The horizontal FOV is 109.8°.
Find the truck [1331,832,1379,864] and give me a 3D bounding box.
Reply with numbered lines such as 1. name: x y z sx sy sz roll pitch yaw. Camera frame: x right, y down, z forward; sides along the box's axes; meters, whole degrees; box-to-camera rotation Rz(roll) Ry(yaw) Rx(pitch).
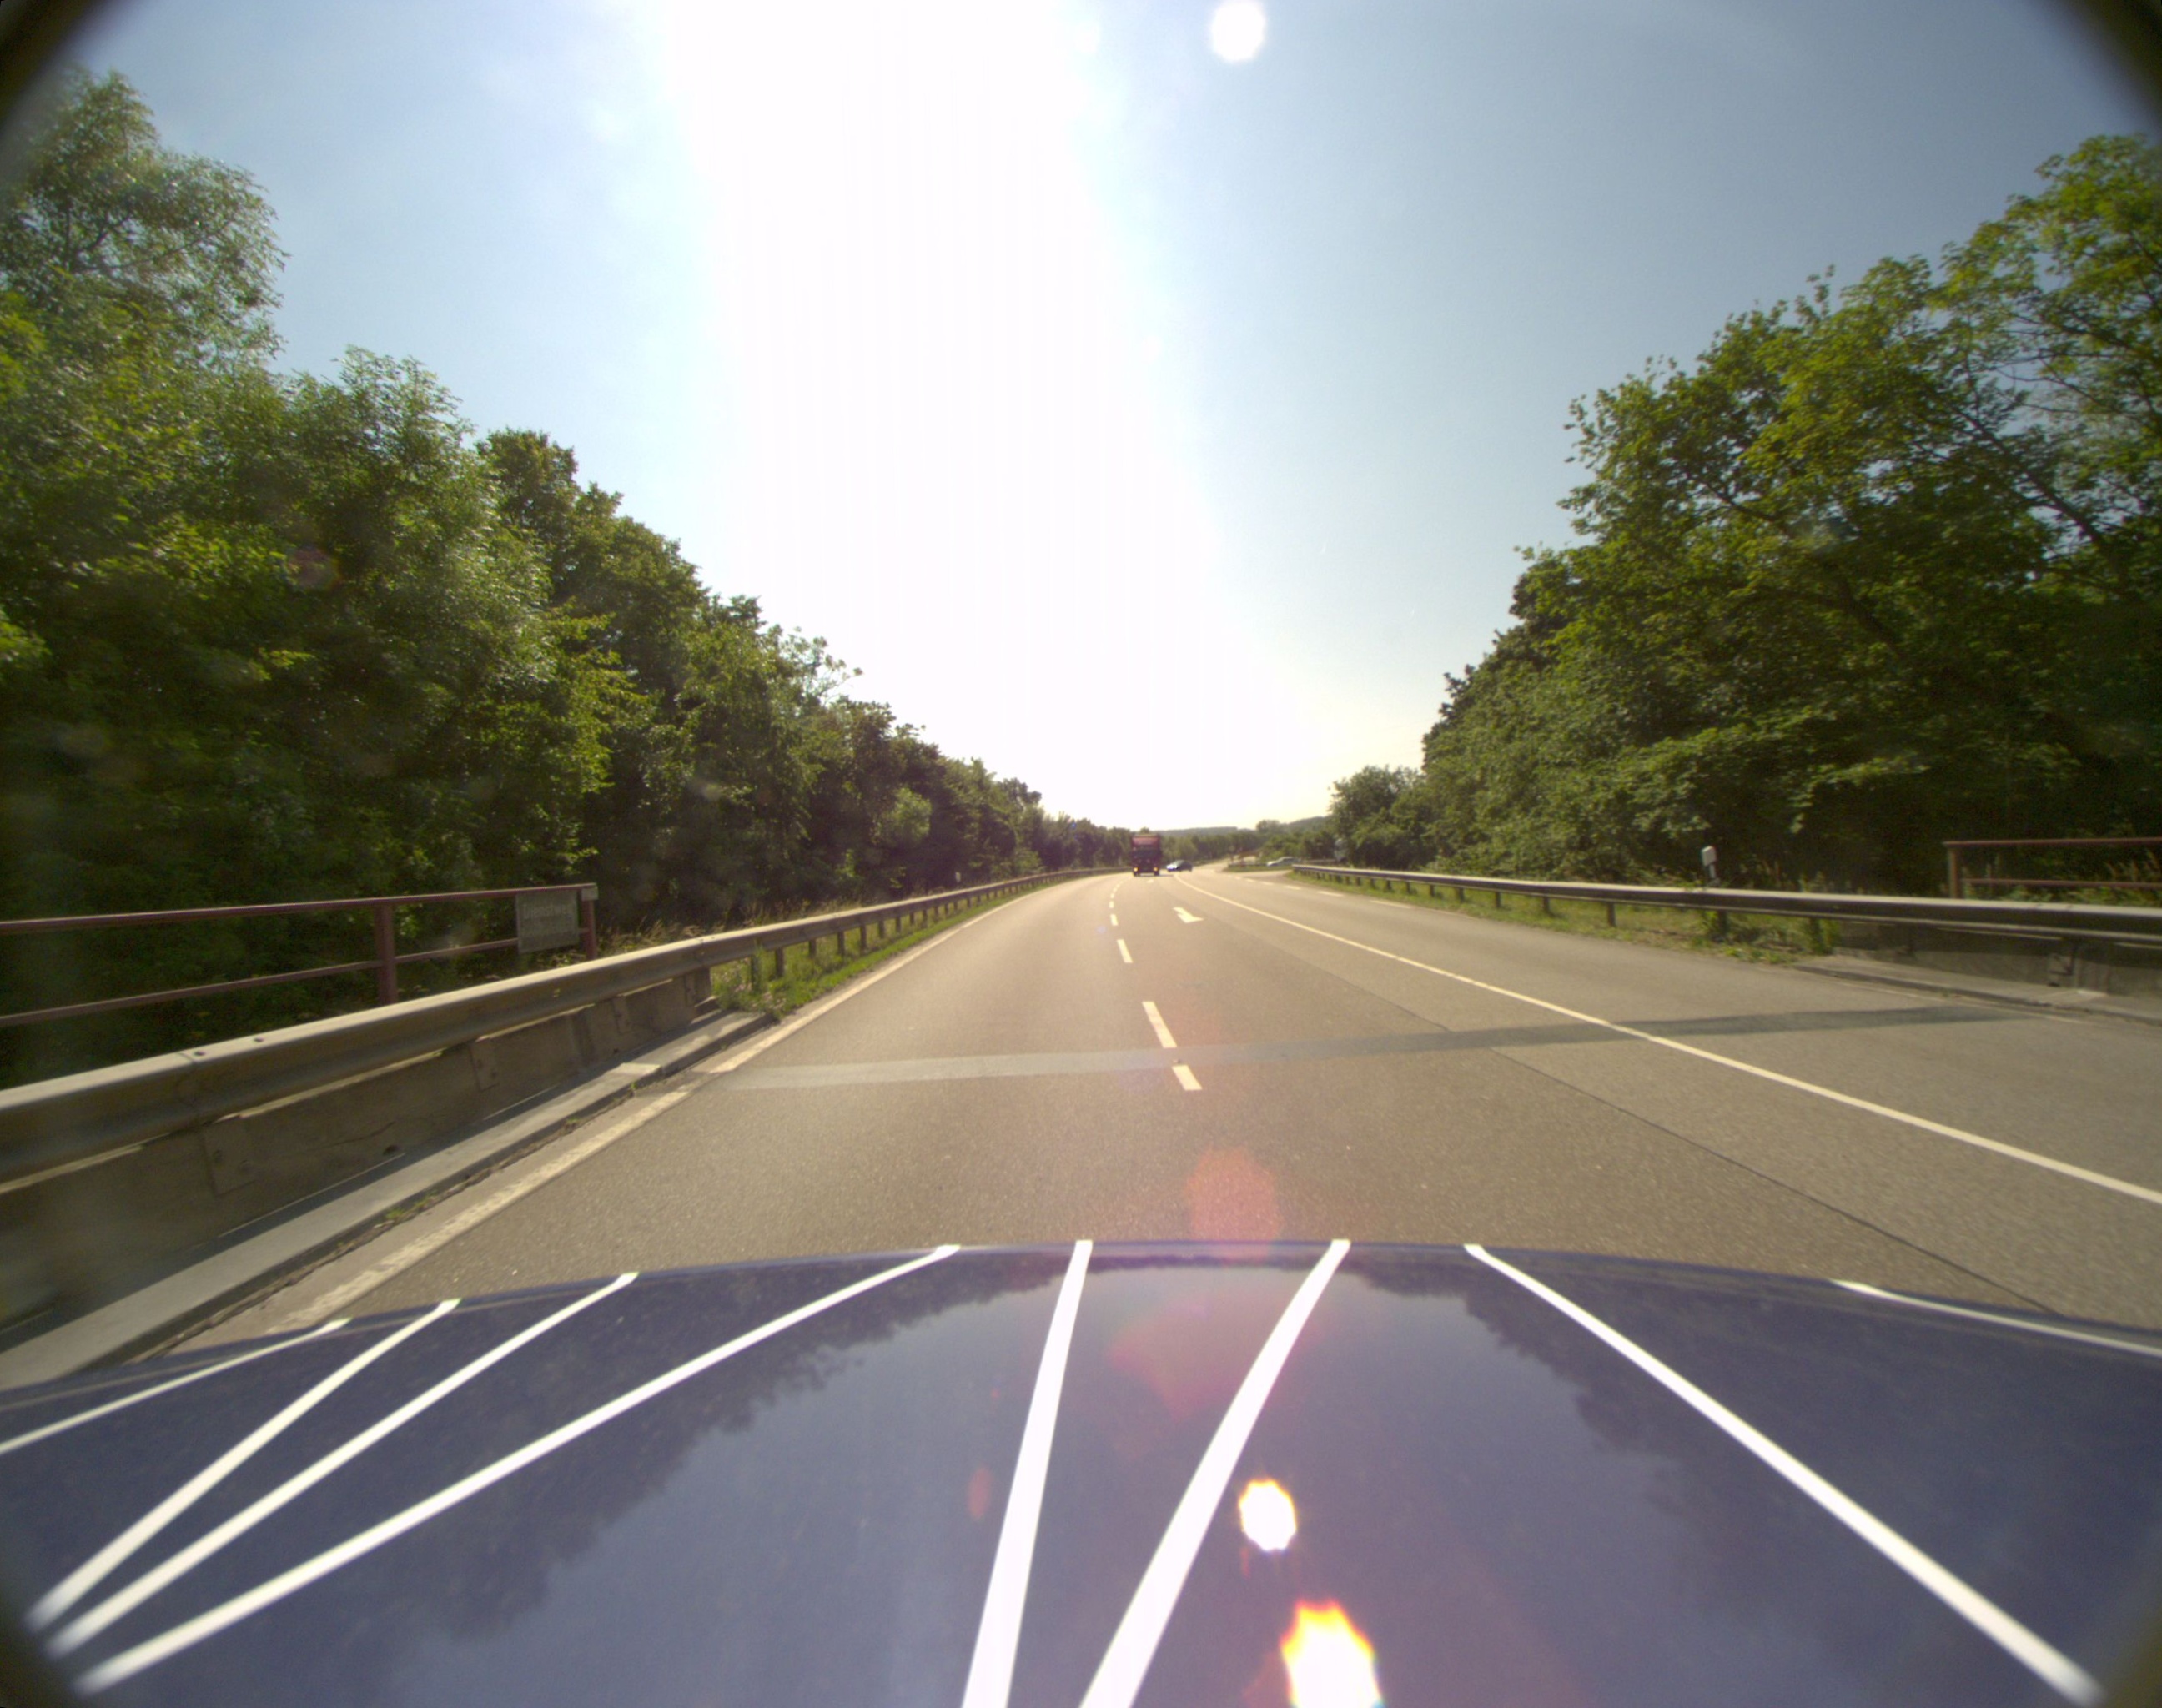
1. truck: 38.060 -0.892 105.690 5.723 4.214 2.942 -2 2 11

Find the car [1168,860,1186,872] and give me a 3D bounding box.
1. car: 12.166 1.528 96.525 1.785 1.406 4.005 -2 -1 14

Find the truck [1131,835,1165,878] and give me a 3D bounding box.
1. truck: 6.353 0.229 70.692 2.688 3.639 9.268 -2 -1 7

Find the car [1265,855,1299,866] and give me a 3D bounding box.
1. car: 27.485 0.859 103.949 4.371 1.377 1.790 -2 -1 11
